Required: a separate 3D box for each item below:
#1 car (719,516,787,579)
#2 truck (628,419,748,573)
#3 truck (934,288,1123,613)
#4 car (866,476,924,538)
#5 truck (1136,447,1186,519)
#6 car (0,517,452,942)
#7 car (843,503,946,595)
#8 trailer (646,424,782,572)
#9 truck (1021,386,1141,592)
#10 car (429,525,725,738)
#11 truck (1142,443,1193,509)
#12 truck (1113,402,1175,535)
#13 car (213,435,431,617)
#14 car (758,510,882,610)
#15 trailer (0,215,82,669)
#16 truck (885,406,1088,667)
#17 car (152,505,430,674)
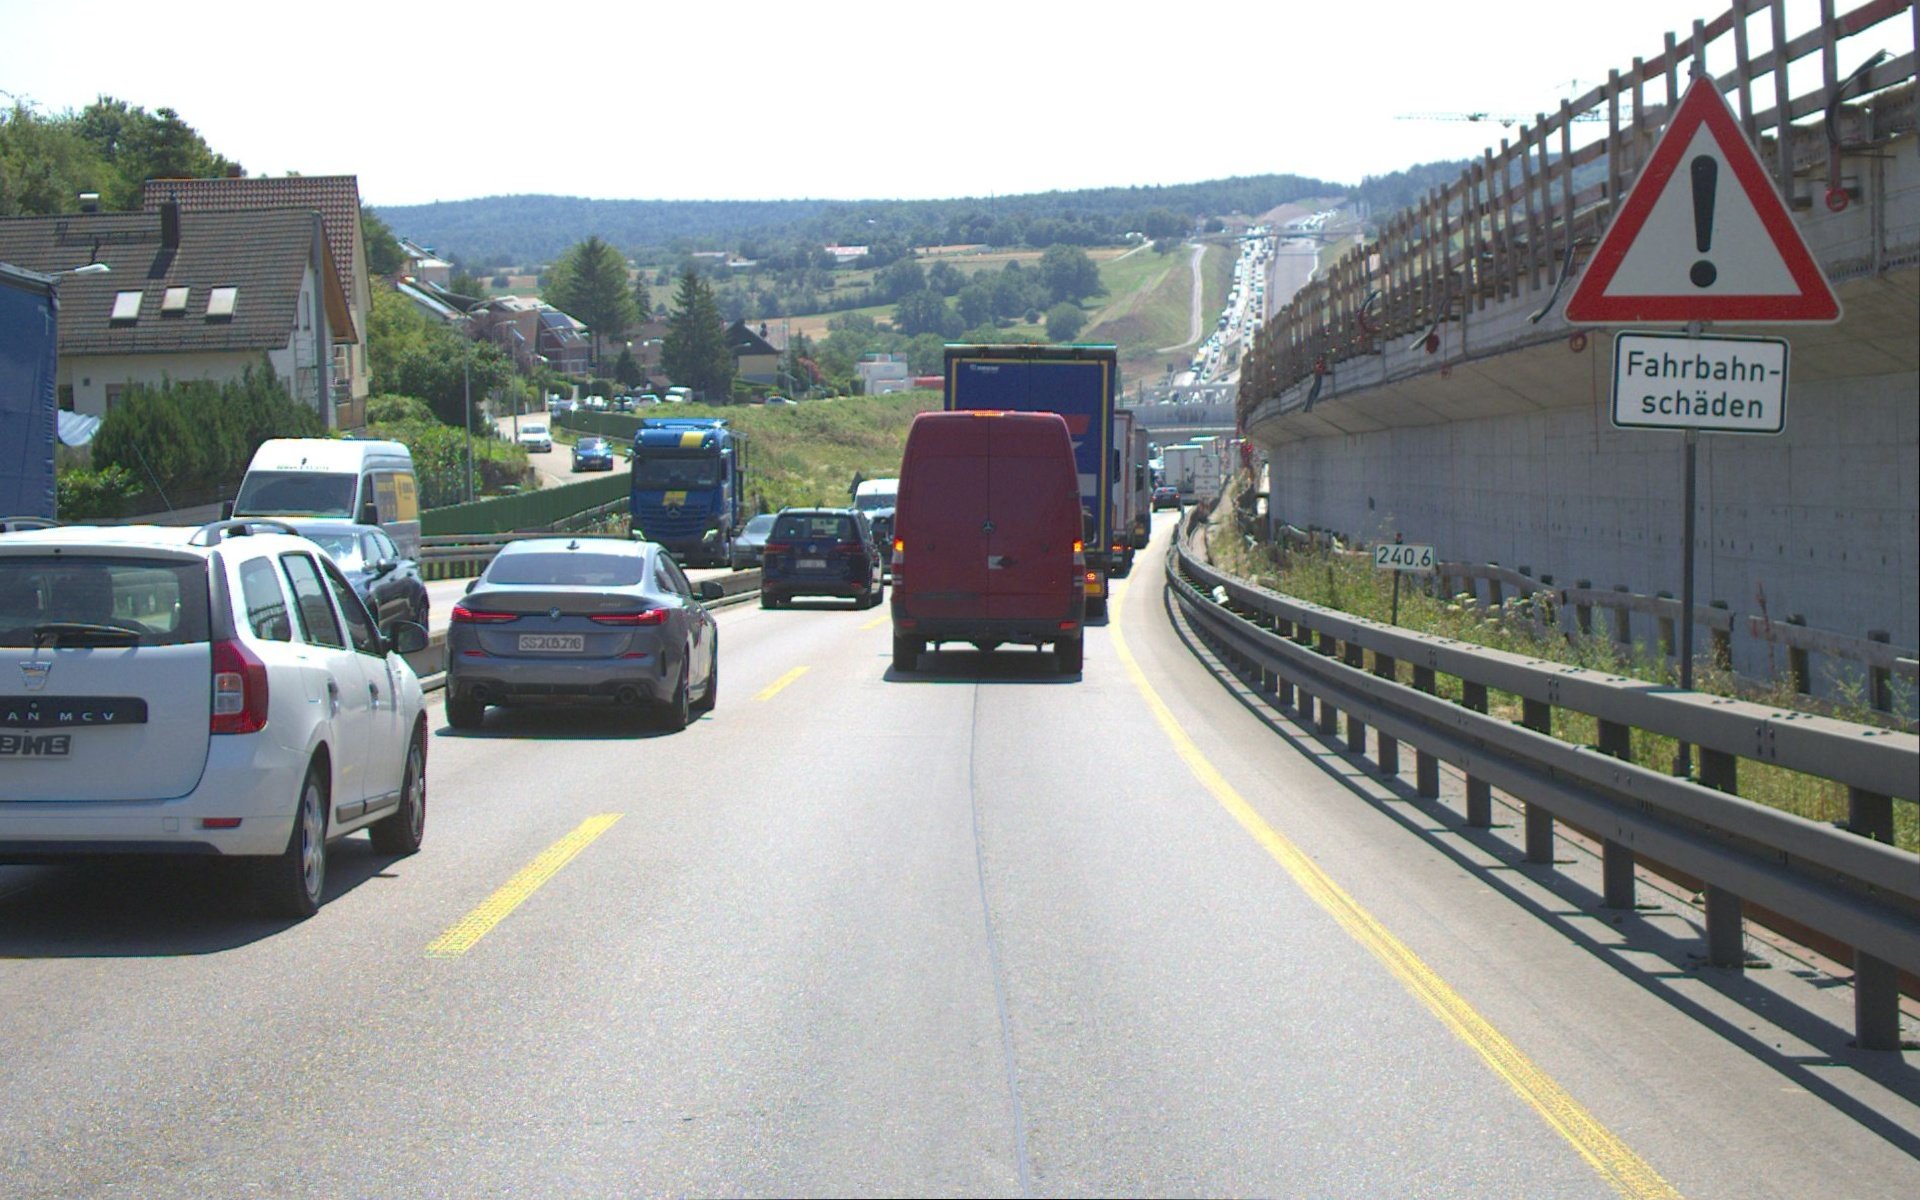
[{"bbox_3d":[-4.897,-1.275,81.811,1.544,1.459,4.629,0,1,-2],"label":"car"},{"bbox_3d":[-7.197,-2.716,91.473,2.509,3.951,5.174,0,0,3],"label":"truck"},{"bbox_3d":[1.164,-2.214,55.673,2.786,4.799,9.684,0,0,2],"label":"truck"},{"bbox_3d":[-2.743,-3.913,145.402,1.994,2.498,5.515,0,0,4],"label":"car"},{"bbox_3d":[13.034,-7.502,221.908,3.069,4.366,8.555,0,0,4],"label":"truck"},{"bbox_3d":[-3.309,0.455,14.347,1.651,1.478,4.266,-2,0,1],"label":"car"},{"bbox_3d":[-1.310,-1.015,70.442,1.729,1.832,3.999,0,0,4],"label":"car"},{"bbox_3d":[-6.886,-2.772,97.870,2.509,3.951,11.398,0,0,3],"label":"trailer"},{"bbox_3d":[2.975,-2.613,85.138,2.786,4.799,9.684,0,0,2],"label":"truck"},{"bbox_3d":[-2.894,0.214,26.757,1.794,1.480,4.049,2,0,0],"label":"car"},{"bbox_3d":[14.702,-8.739,243.003,3.468,4.366,8.555,0,0,4],"label":"truck"},{"bbox_3d":[6.258,-4.434,116.701,1.994,4.366,3.999,0,0,4],"label":"truck"},{"bbox_3d":[-9.546,-1.132,51.942,2.005,2.594,5.979,0,1,2],"label":"car"},{"bbox_3d":[-2.281,-0.644,56.854,1.810,1.602,3.719,0,0,1],"label":"car"},{"bbox_3d":[-10.291,-1.336,27.426,3.135,4.065,11.819,0,1,2],"label":"trailer"},{"bbox_3d":[0.302,-0.628,35.812,1.993,2.570,4.000,0,0,1],"label":"truck"},{"bbox_3d":[-6.440,-0.154,33.565,1.850,1.541,4.559,0,1,0],"label":"car"}]
